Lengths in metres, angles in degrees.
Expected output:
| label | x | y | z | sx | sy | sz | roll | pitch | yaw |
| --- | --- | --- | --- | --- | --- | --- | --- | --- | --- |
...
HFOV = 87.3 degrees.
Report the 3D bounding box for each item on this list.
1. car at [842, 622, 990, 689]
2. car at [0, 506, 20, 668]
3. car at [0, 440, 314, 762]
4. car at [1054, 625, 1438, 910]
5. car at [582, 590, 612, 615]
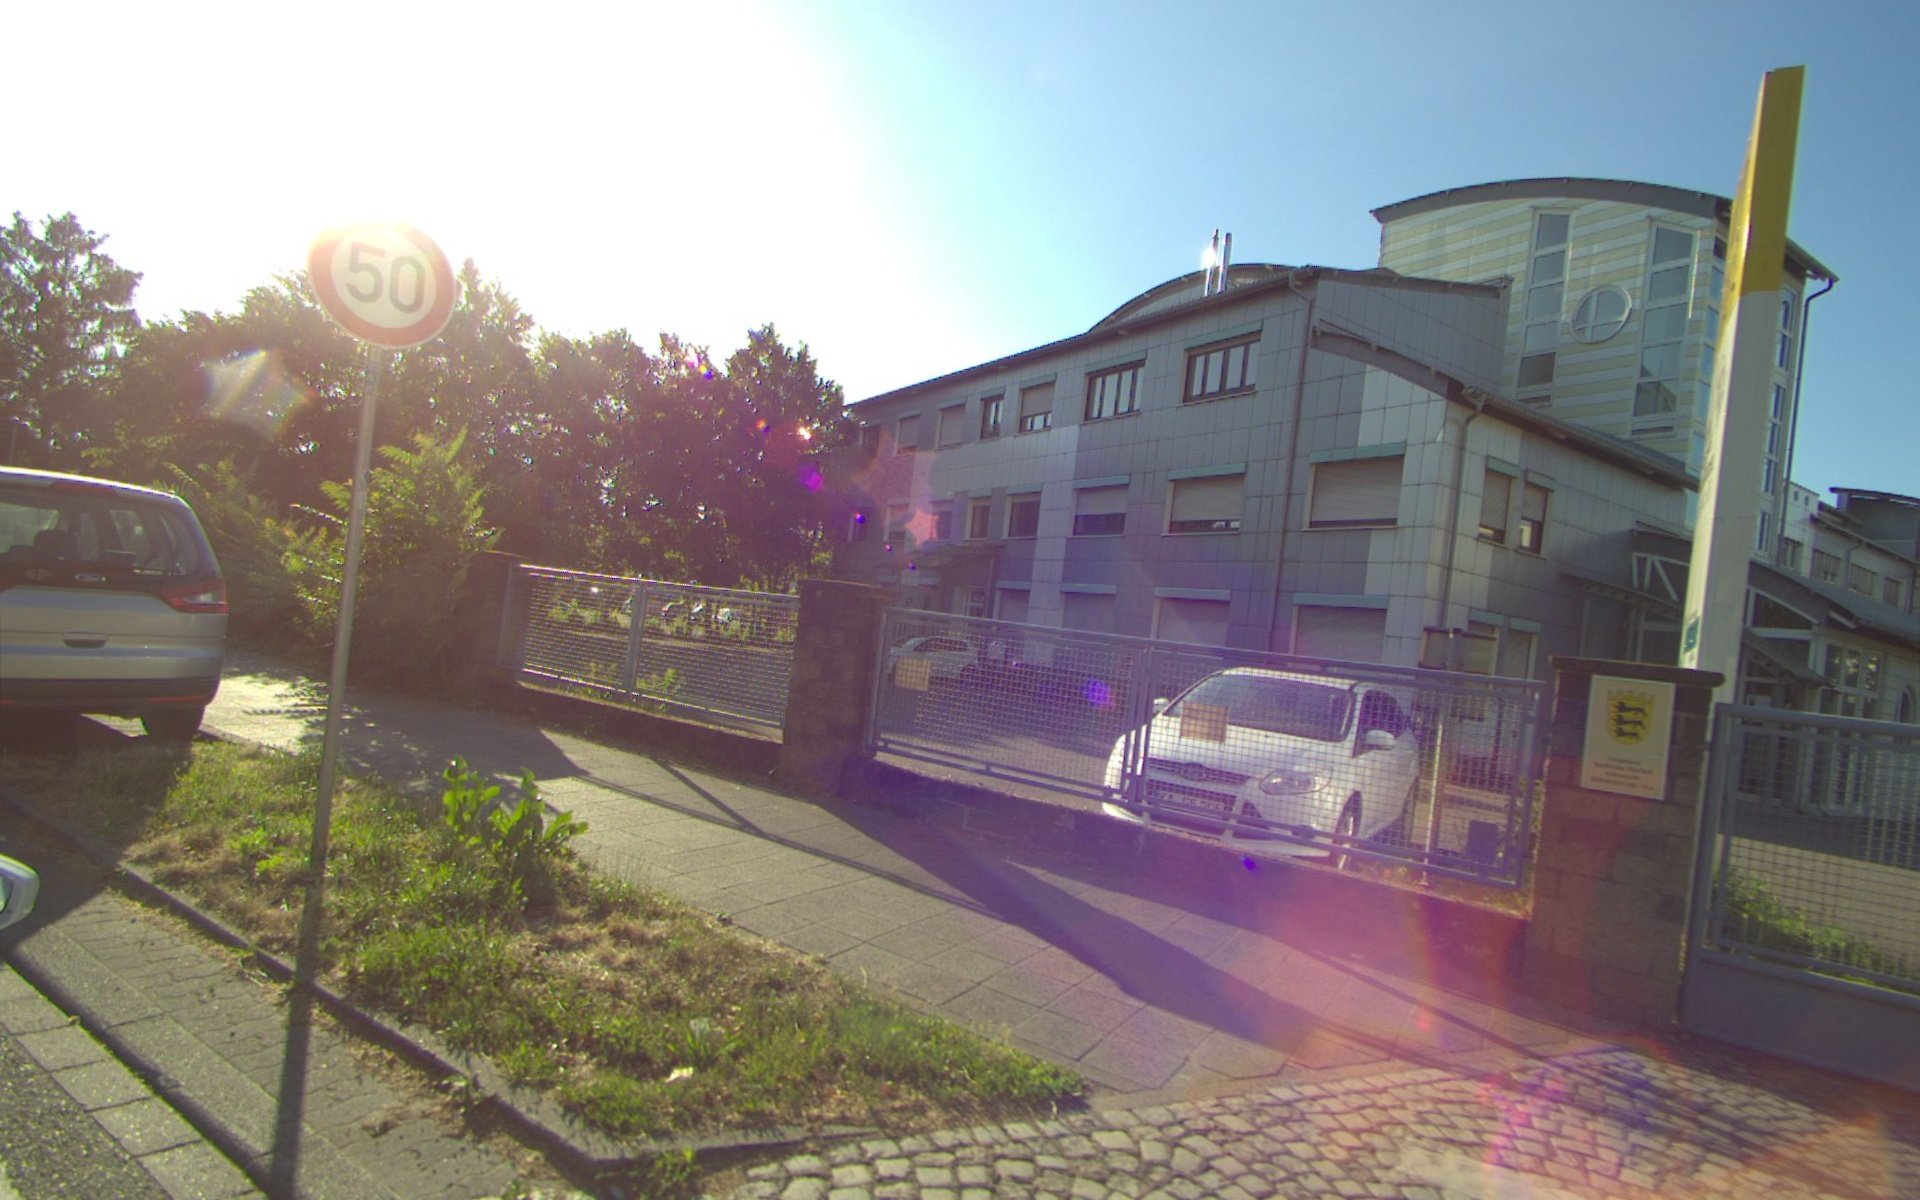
| label | x | y | z | sx | sy | sz | roll | pitch | yaw |
| --- | --- | --- | --- | --- | --- | --- | --- | --- | --- |
| car | -1.296 | 1.687 | 30.368 | 3.964 | 1.592 | 1.892 | 7 | -2 | -35 |
| car | -11.415 | -0.374 | 10.042 | 4.612 | 1.534 | 1.784 | 6 | 0 | 32 |
| car | -7.063 | -0.150 | 7.330 | 4.837 | 1.780 | 1.996 | 6 | -1 | 32 |
| car | 2.595 | 1.261 | 8.346 | 1.812 | 1.577 | 3.993 | 6 | -3 | 34 |
| car | -29.848 | 0.204 | 82.743 | 1.683 | 1.706 | 3.842 | 10 | -3 | -26 |
